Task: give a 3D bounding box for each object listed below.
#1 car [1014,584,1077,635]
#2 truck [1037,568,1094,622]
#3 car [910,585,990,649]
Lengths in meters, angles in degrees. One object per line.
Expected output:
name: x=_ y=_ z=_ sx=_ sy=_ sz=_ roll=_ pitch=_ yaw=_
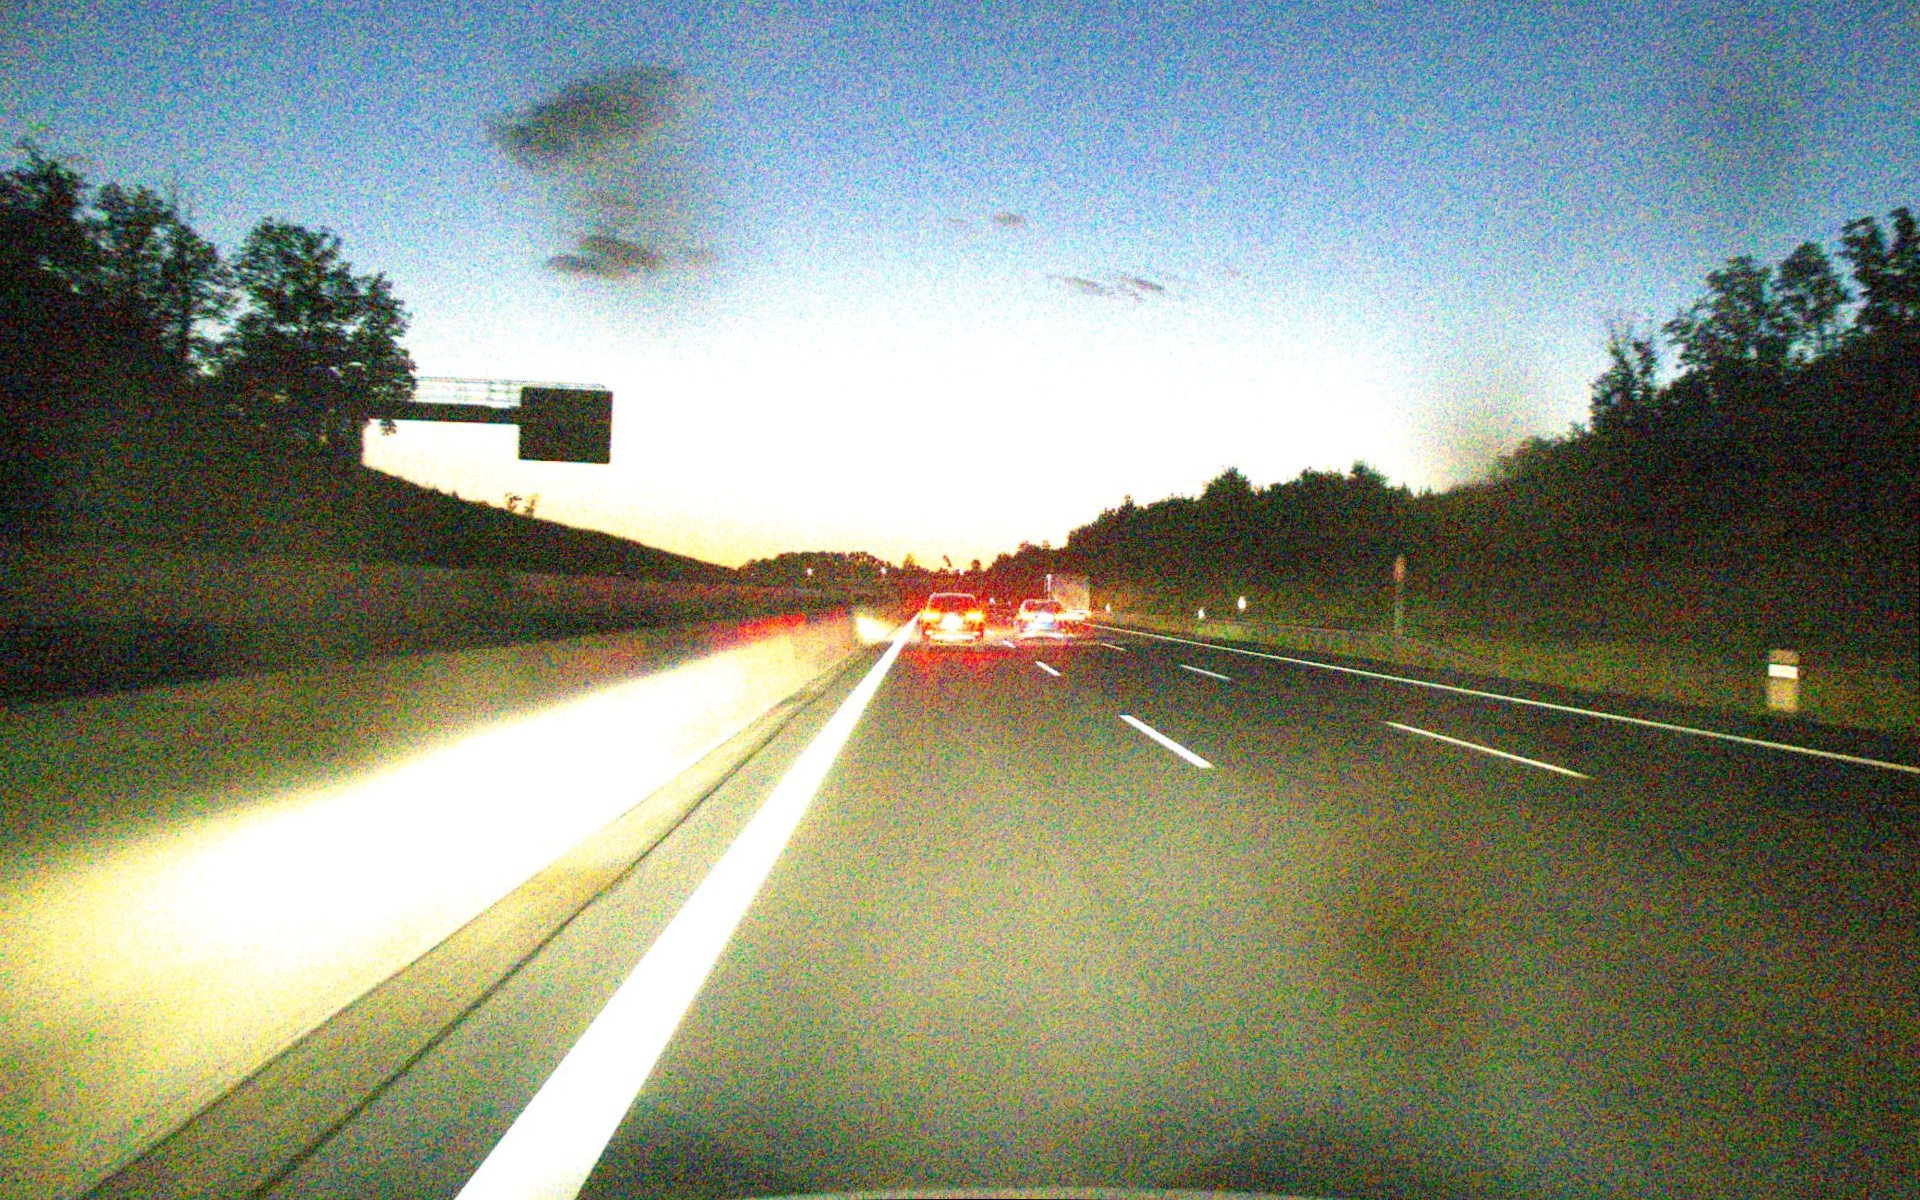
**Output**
car: x=3.068 y=0.340 z=60.217 sx=1.873 sy=1.760 sz=3.998 roll=1 pitch=0 yaw=-3
truck: x=6.386 y=-0.299 z=101.117 sx=2.551 sy=2.924 sz=7.483 roll=6 pitch=0 yaw=-2
car: x=-0.329 y=0.464 z=46.526 sx=2.063 sy=1.646 sz=4.202 roll=2 pitch=0 yaw=-2
